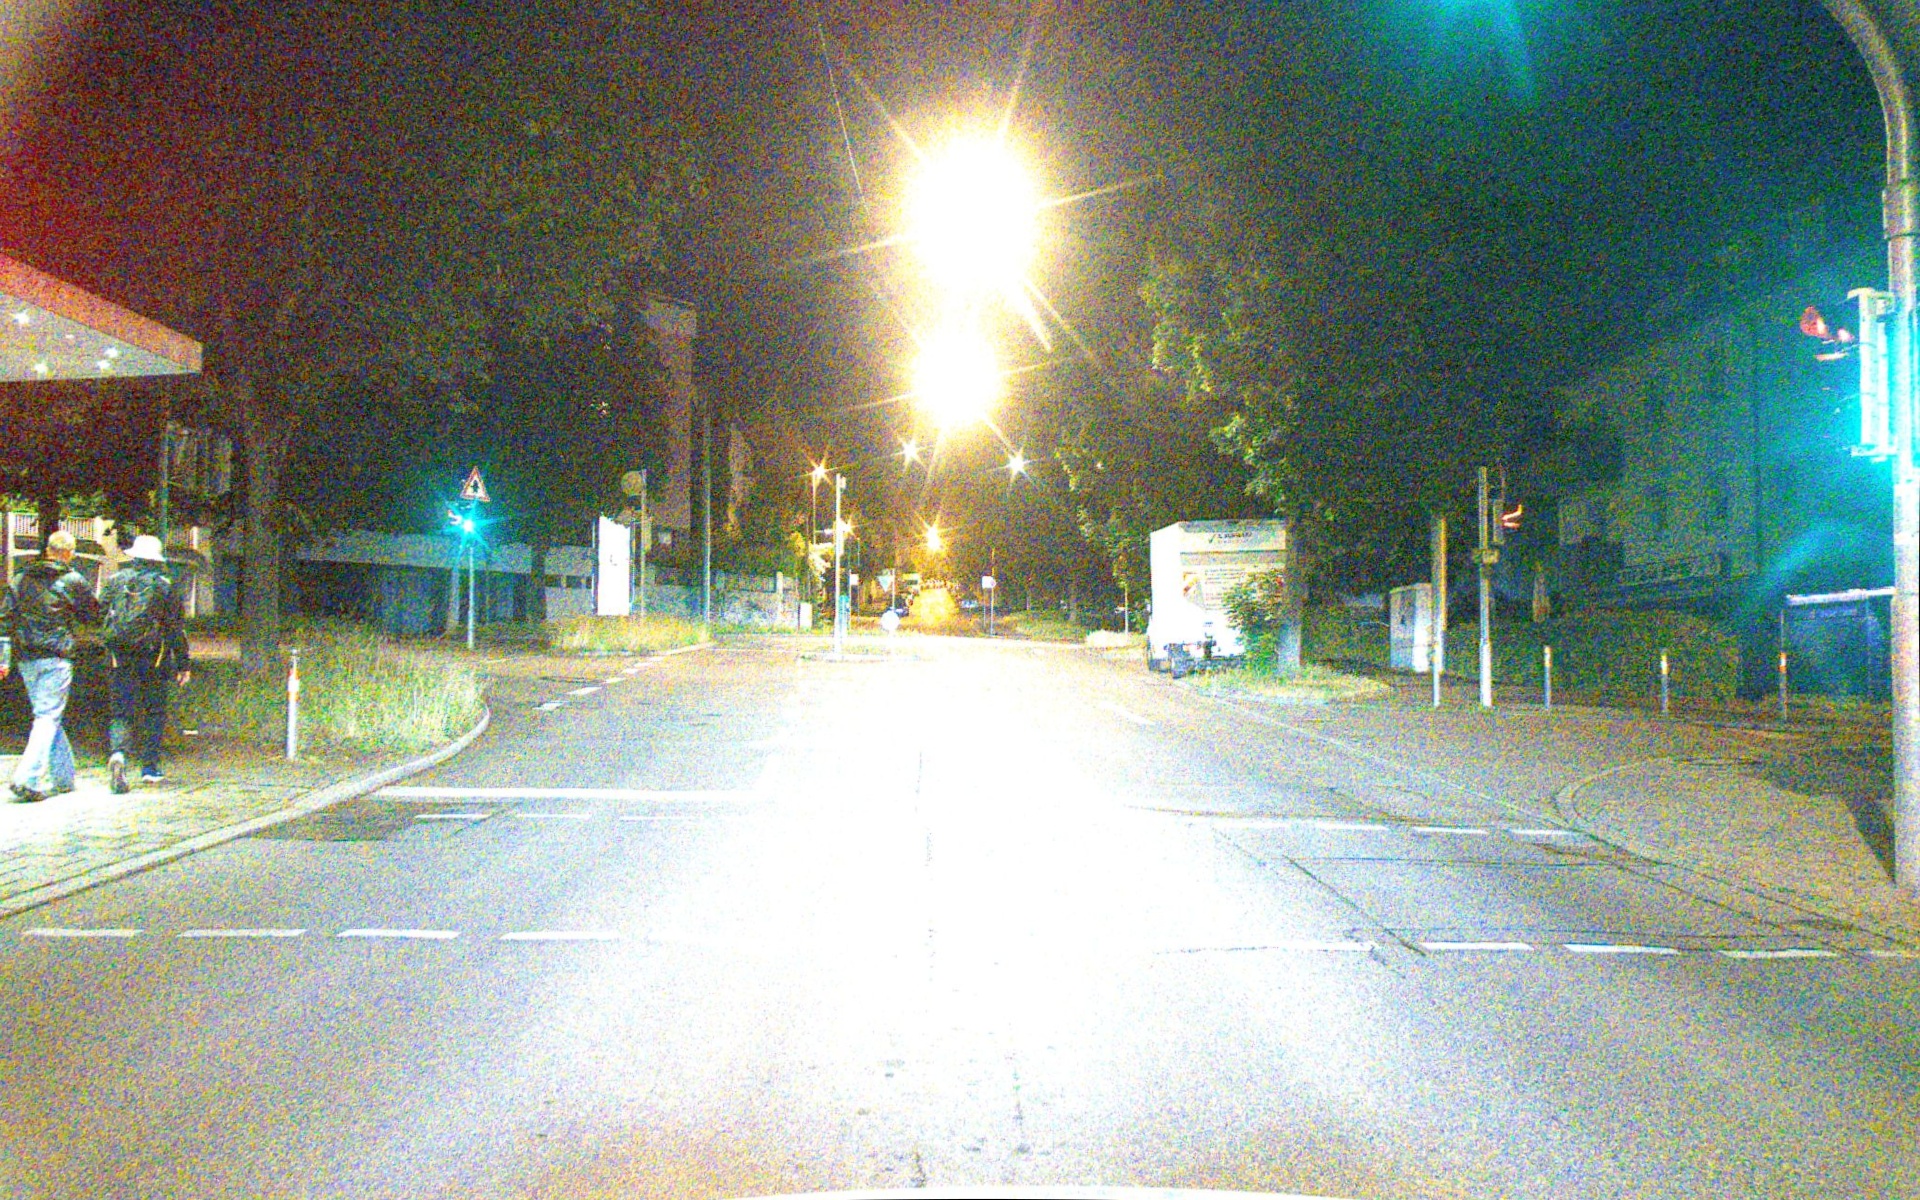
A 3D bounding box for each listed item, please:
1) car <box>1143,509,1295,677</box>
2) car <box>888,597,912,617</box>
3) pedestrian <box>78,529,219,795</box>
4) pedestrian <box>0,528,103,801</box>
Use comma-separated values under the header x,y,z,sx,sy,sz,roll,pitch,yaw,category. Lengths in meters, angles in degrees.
x,y,z,sx,sy,sz,roll,pitch,yaw,category
5.251,-0.133,34.363,2.249,3.147,5.840,-1,0,1,car
-4.843,0.546,134.342,1.869,1.585,3.903,1,0,-1,car
-5.772,0.431,11.795,0.558,1.808,0.737,3,-1,-1,pedestrian
-6.127,0.419,10.980,0.558,1.761,0.543,1,-1,-1,pedestrian
